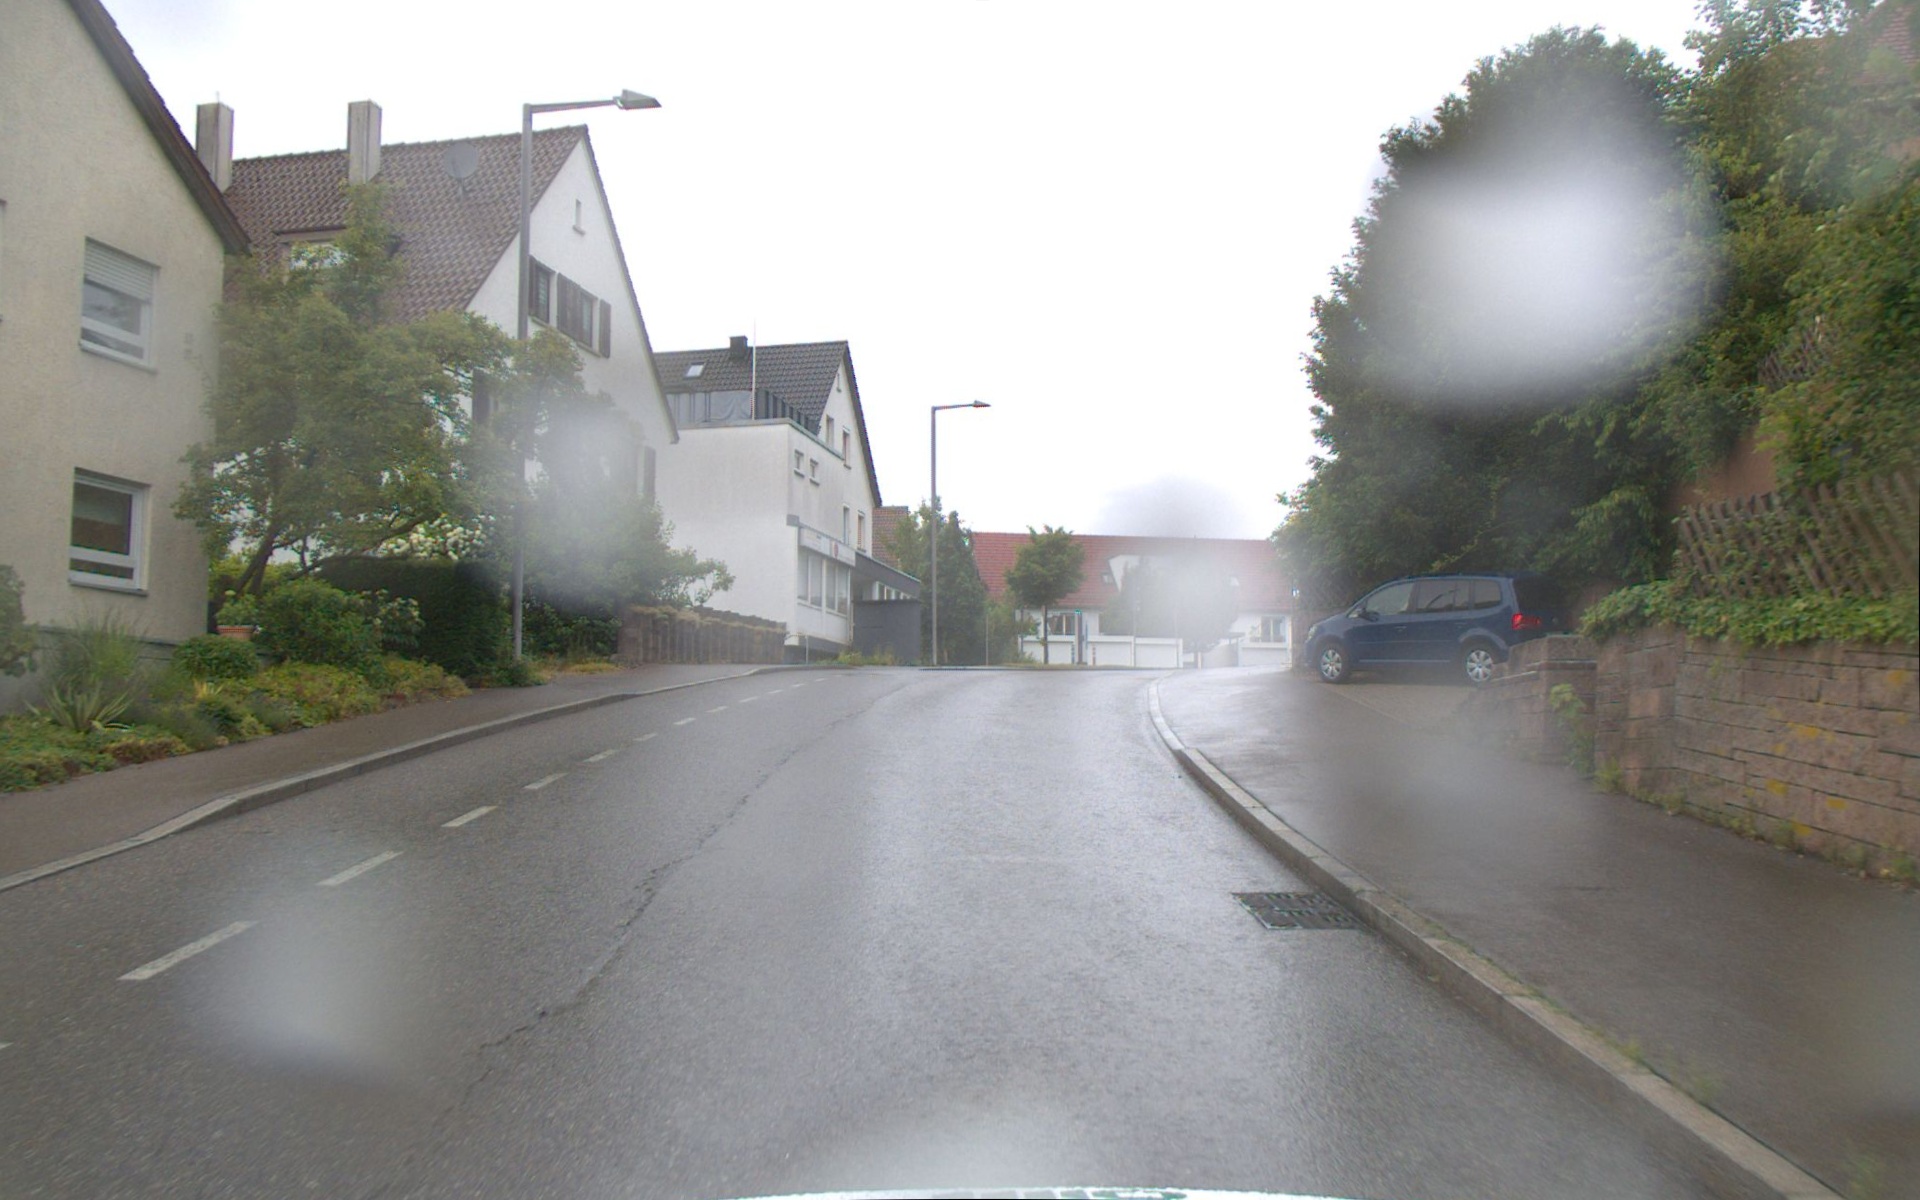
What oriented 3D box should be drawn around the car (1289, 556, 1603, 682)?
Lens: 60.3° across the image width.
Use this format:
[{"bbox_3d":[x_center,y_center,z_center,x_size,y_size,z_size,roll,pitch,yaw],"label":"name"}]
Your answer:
[{"bbox_3d":[7.367,0.330,25.411,1.840,1.634,4.277,-6,1,-39],"label":"car"}]
